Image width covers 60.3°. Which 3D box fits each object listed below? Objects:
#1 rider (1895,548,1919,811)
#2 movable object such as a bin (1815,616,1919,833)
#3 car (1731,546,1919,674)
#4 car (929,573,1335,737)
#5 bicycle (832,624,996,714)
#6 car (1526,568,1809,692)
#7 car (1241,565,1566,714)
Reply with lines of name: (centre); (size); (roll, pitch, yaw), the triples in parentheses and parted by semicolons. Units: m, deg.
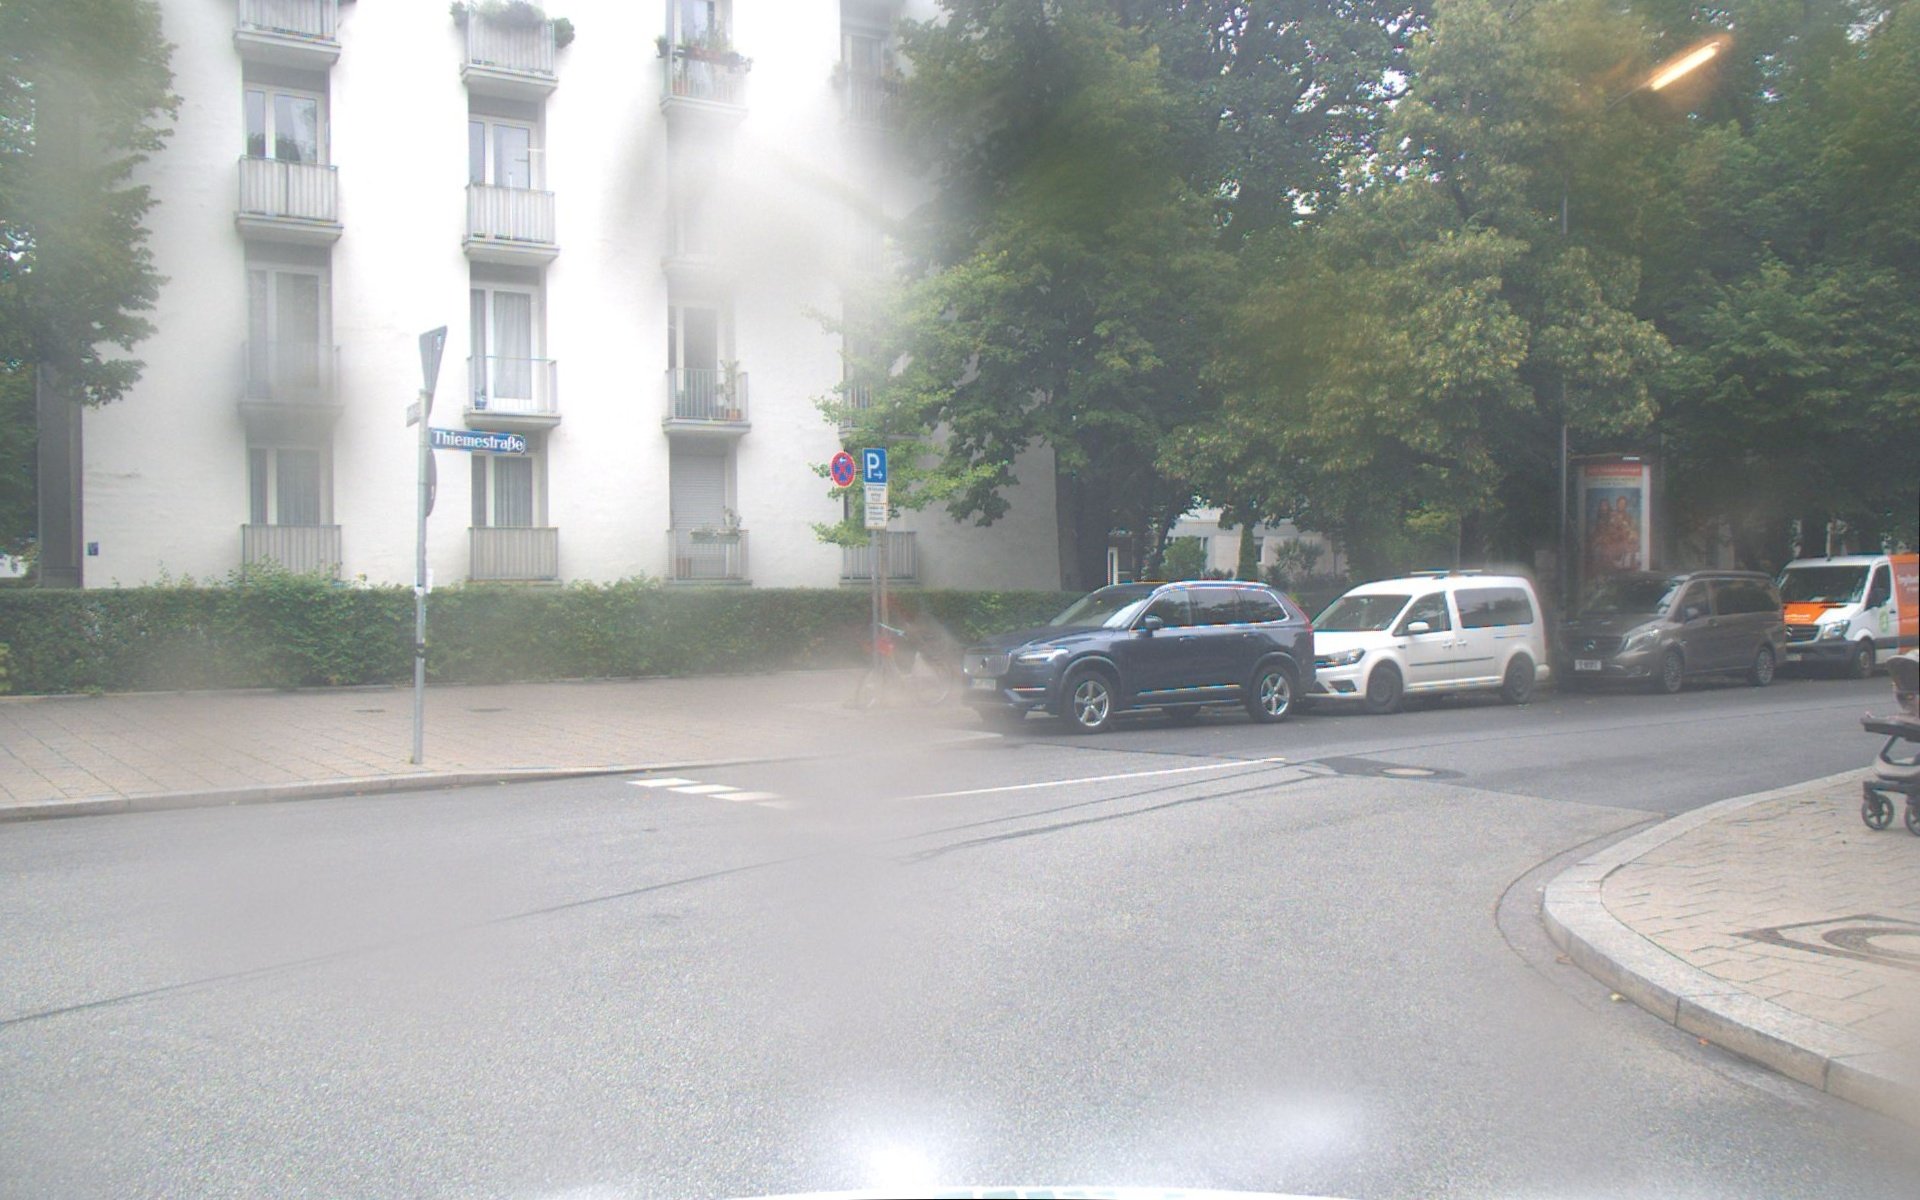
rider: (6.850, 0.490, 10.505); (1.120, 1.697, 1.078); (-1, -2, -22)
movable object such as a bin: (6.146, 0.738, 10.207); (1.068, 1.289, 1.074); (-1, -2, -22)
car: (17.297, 0.147, 31.948); (5.134, 2.290, 2.092); (-1, 1, -35)
car: (2.182, 0.572, 20.379); (4.849, 1.798, 2.047); (-1, 1, -35)
bicycle: (-0.587, 0.866, 21.375); (1.947, 1.070, 0.903); (0, 0, -34)
car: (11.798, 0.432, 27.473); (4.928, 1.891, 2.047); (-1, 1, -35)
car: (6.392, 0.482, 23.590); (4.813, 1.928, 1.908); (-1, 1, -36)
